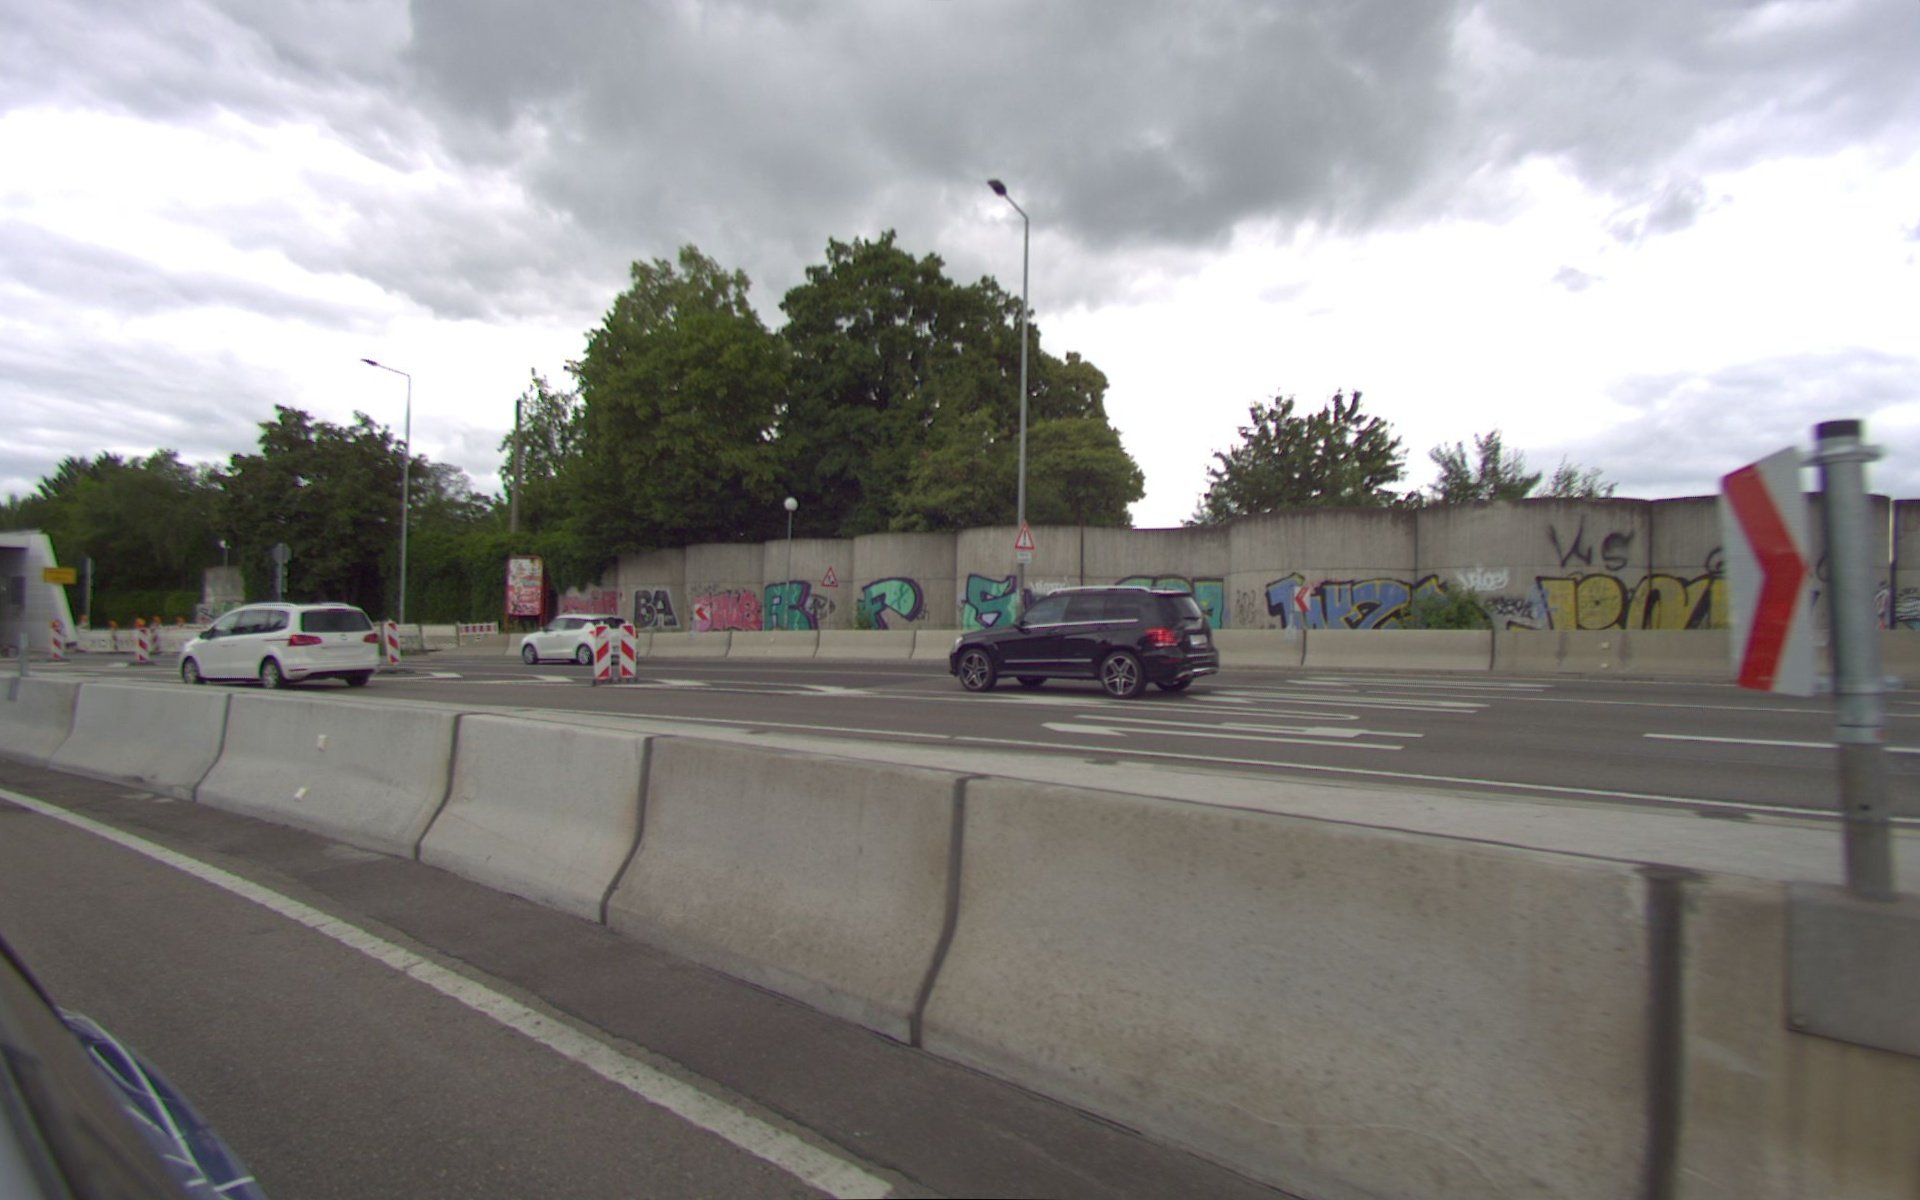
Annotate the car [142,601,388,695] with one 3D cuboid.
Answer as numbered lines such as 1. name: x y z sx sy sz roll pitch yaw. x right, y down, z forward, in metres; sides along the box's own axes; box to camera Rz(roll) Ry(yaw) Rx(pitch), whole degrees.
1. car: -14.411 0.929 20.929 5.248 1.763 1.938 0 -1 27

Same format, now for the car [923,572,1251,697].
1. car: 1.891 0.509 16.136 4.924 1.708 1.973 -1 -1 40

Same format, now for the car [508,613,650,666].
1. car: -11.209 1.120 29.701 4.130 1.445 1.747 -1 -1 32
